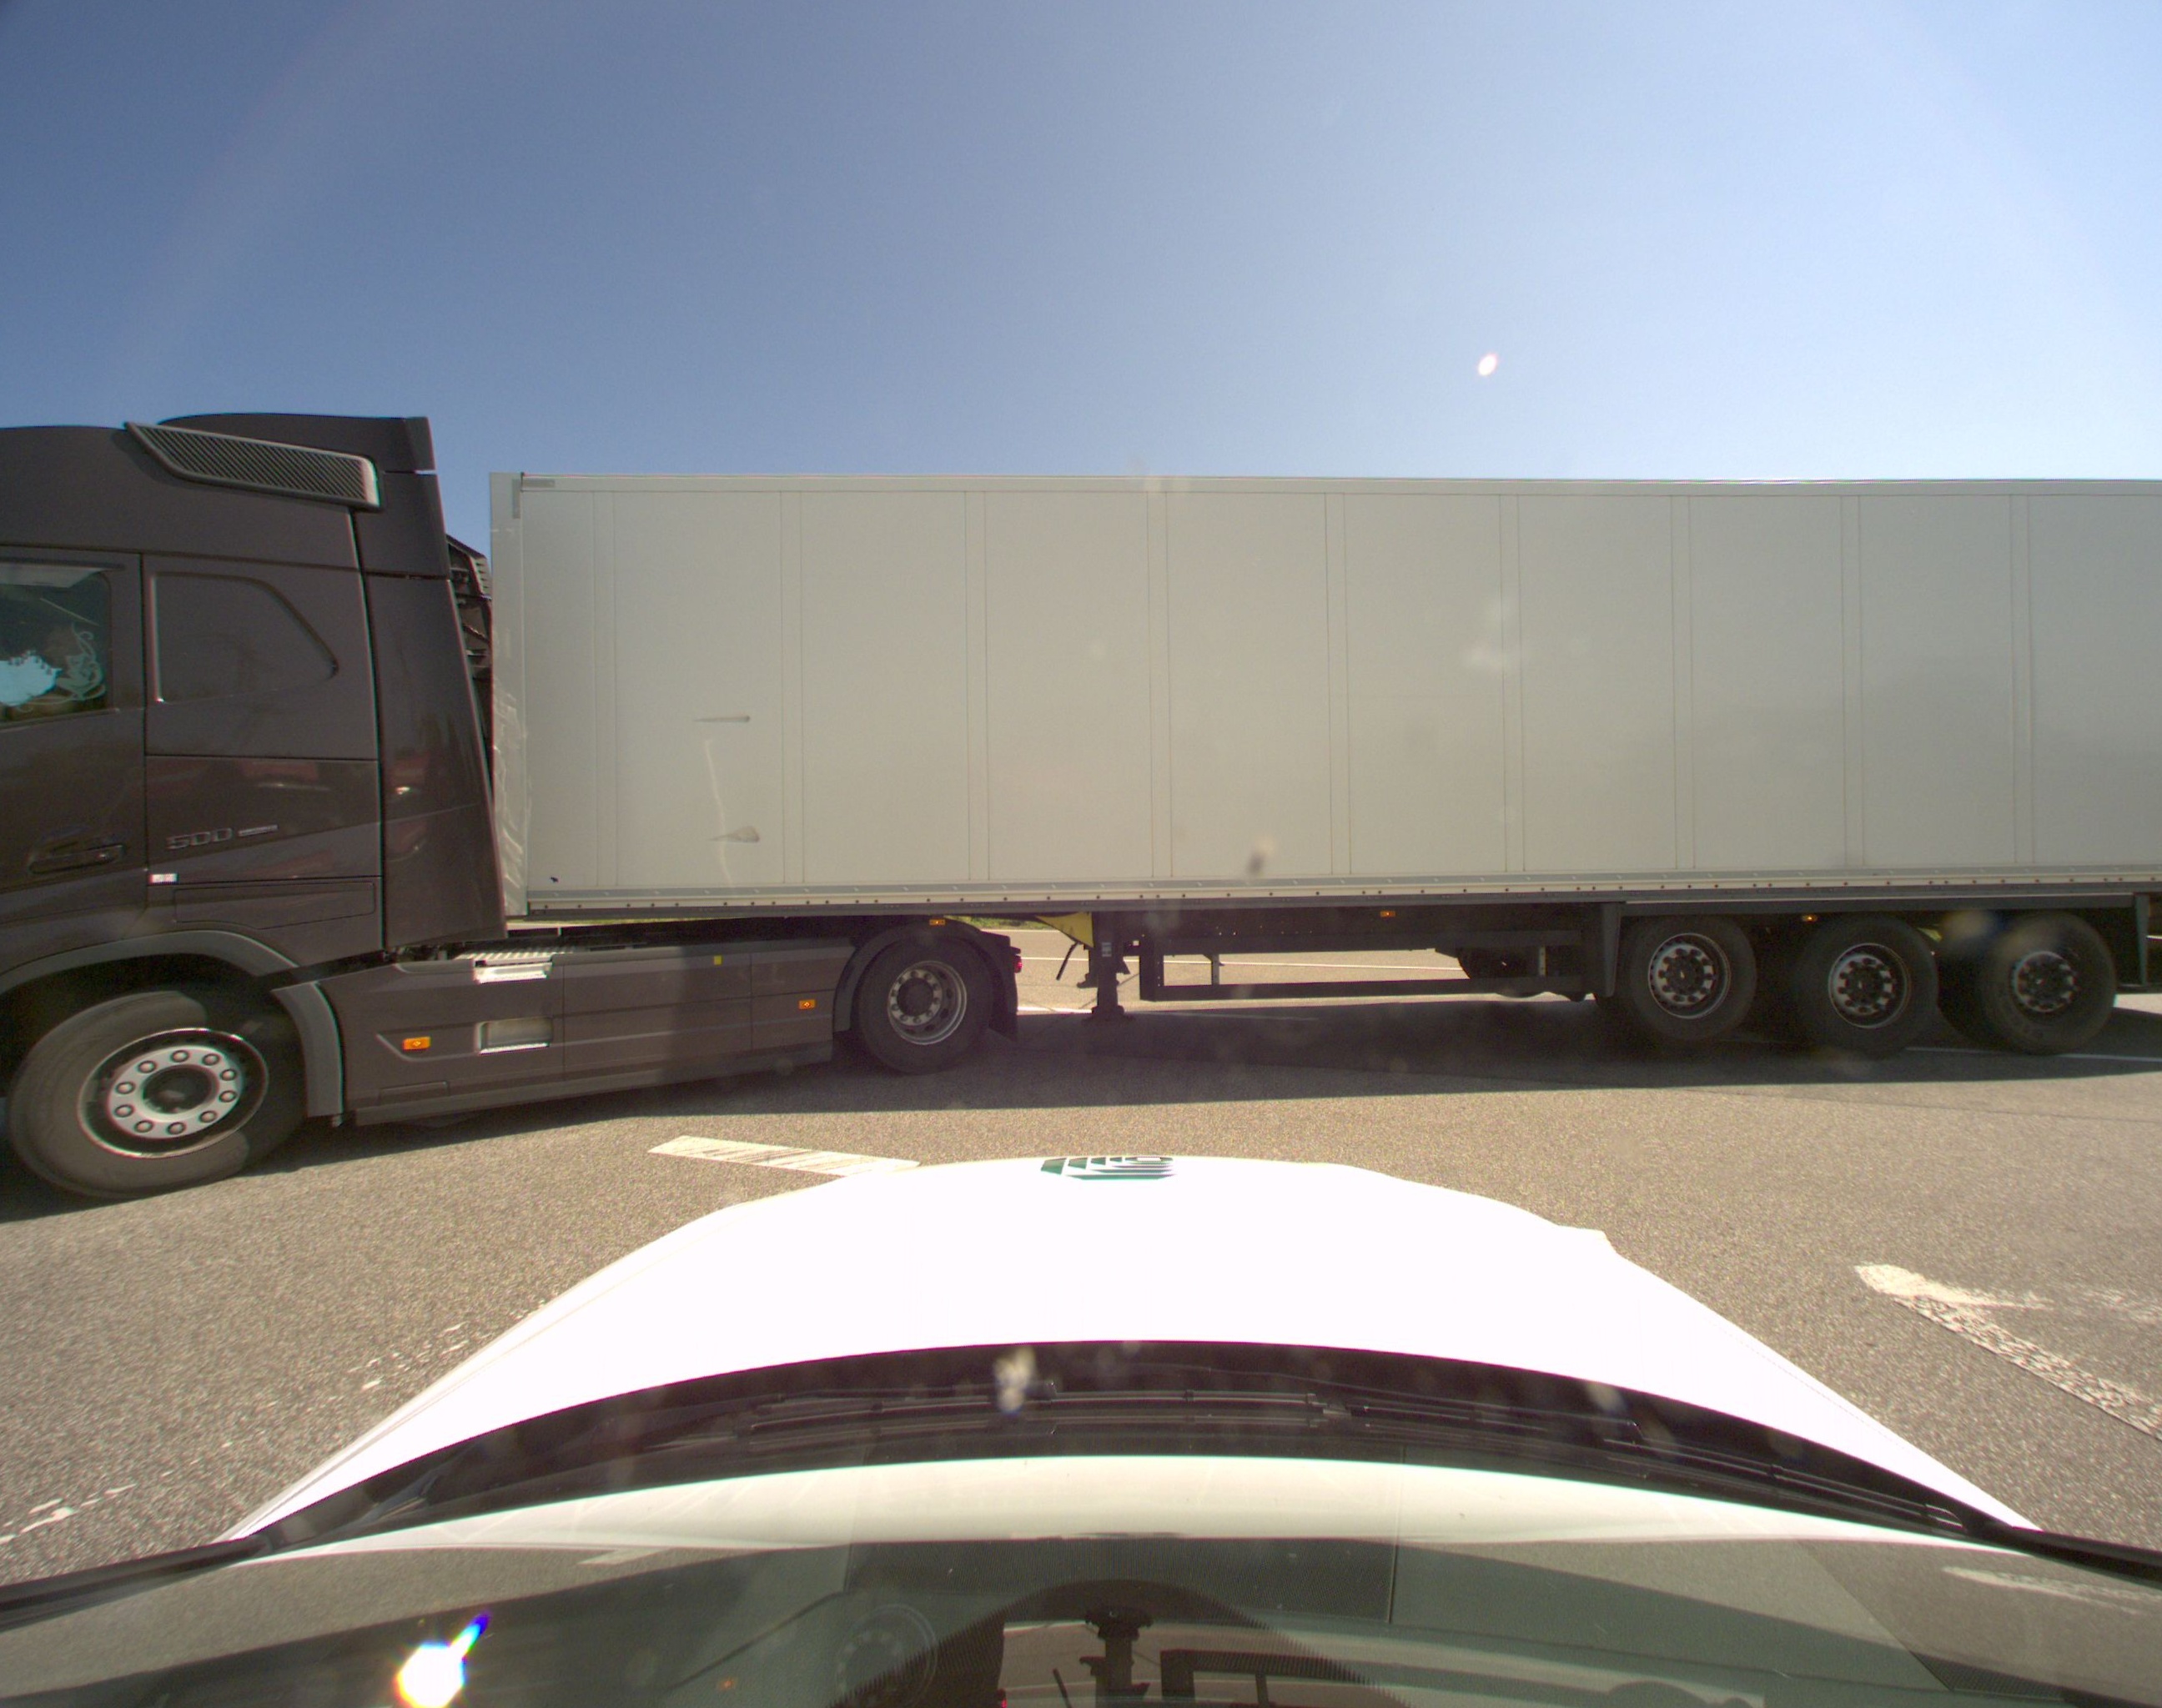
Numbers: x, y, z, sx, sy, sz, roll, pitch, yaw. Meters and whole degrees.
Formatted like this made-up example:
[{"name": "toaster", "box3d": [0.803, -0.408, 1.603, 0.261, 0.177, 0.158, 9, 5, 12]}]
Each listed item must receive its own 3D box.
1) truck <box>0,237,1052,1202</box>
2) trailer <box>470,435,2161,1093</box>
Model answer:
[{"name": "truck", "box3d": [-3.518, -0.582, 5.764, 5.985, 4.174, 2.853, 0, -1, -28]}, {"name": "trailer", "box3d": [3.060, -0.685, 6.843, 13.894, 4.165, 2.895, -1, 0, -1]}]
